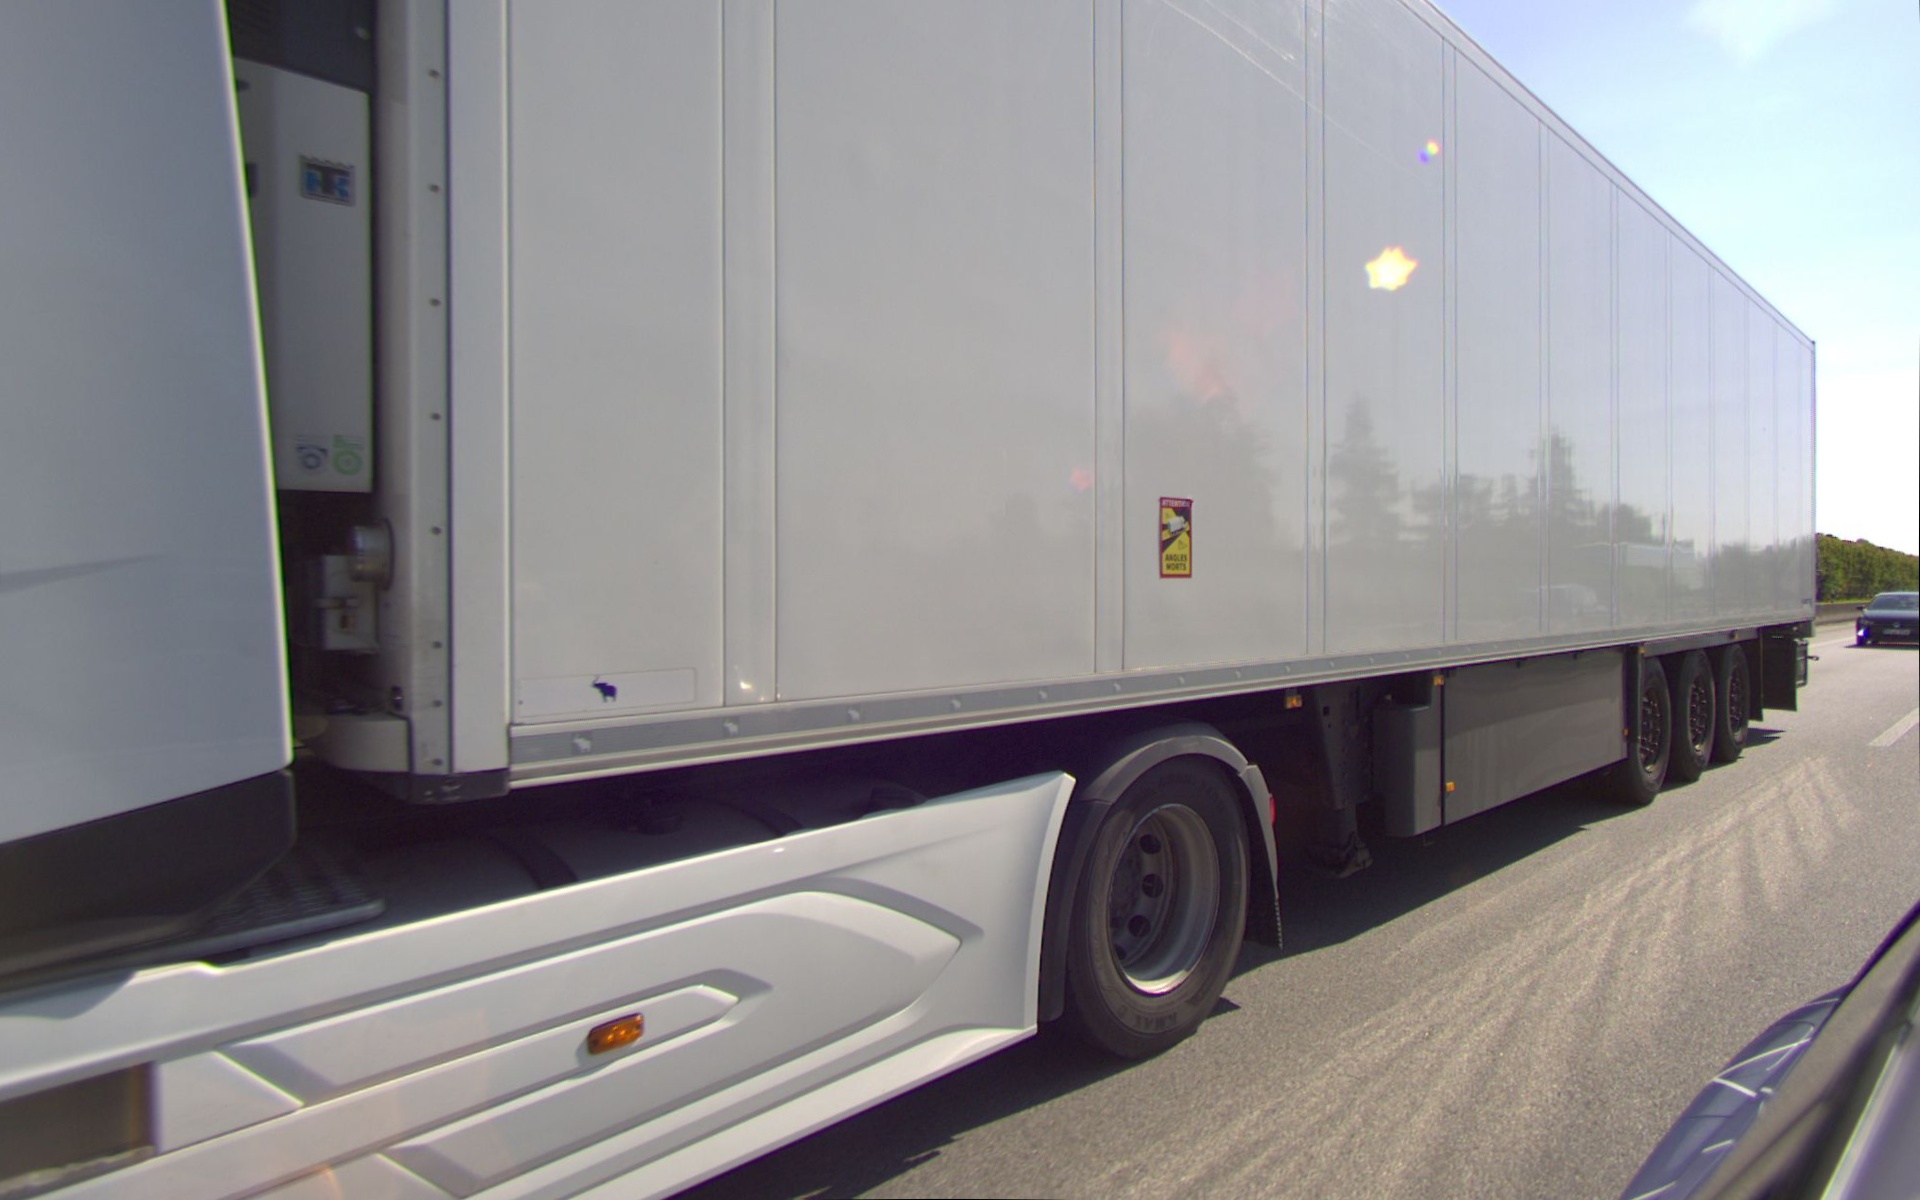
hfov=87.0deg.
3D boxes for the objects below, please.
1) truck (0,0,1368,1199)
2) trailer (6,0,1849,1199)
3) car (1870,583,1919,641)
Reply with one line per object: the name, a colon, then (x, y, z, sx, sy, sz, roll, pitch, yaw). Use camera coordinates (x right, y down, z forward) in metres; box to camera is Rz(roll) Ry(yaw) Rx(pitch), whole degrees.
truck: (-2.058, -0.631, 2.407, 6.923, 4.015, 2.845, -1, 2, -42)
trailer: (3.072, -0.733, 6.970, 13.916, 4.015, 2.823, -1, 2, -42)
car: (25.813, 0.276, 27.147, 4.467, 1.472, 1.667, -1, 1, -42)
